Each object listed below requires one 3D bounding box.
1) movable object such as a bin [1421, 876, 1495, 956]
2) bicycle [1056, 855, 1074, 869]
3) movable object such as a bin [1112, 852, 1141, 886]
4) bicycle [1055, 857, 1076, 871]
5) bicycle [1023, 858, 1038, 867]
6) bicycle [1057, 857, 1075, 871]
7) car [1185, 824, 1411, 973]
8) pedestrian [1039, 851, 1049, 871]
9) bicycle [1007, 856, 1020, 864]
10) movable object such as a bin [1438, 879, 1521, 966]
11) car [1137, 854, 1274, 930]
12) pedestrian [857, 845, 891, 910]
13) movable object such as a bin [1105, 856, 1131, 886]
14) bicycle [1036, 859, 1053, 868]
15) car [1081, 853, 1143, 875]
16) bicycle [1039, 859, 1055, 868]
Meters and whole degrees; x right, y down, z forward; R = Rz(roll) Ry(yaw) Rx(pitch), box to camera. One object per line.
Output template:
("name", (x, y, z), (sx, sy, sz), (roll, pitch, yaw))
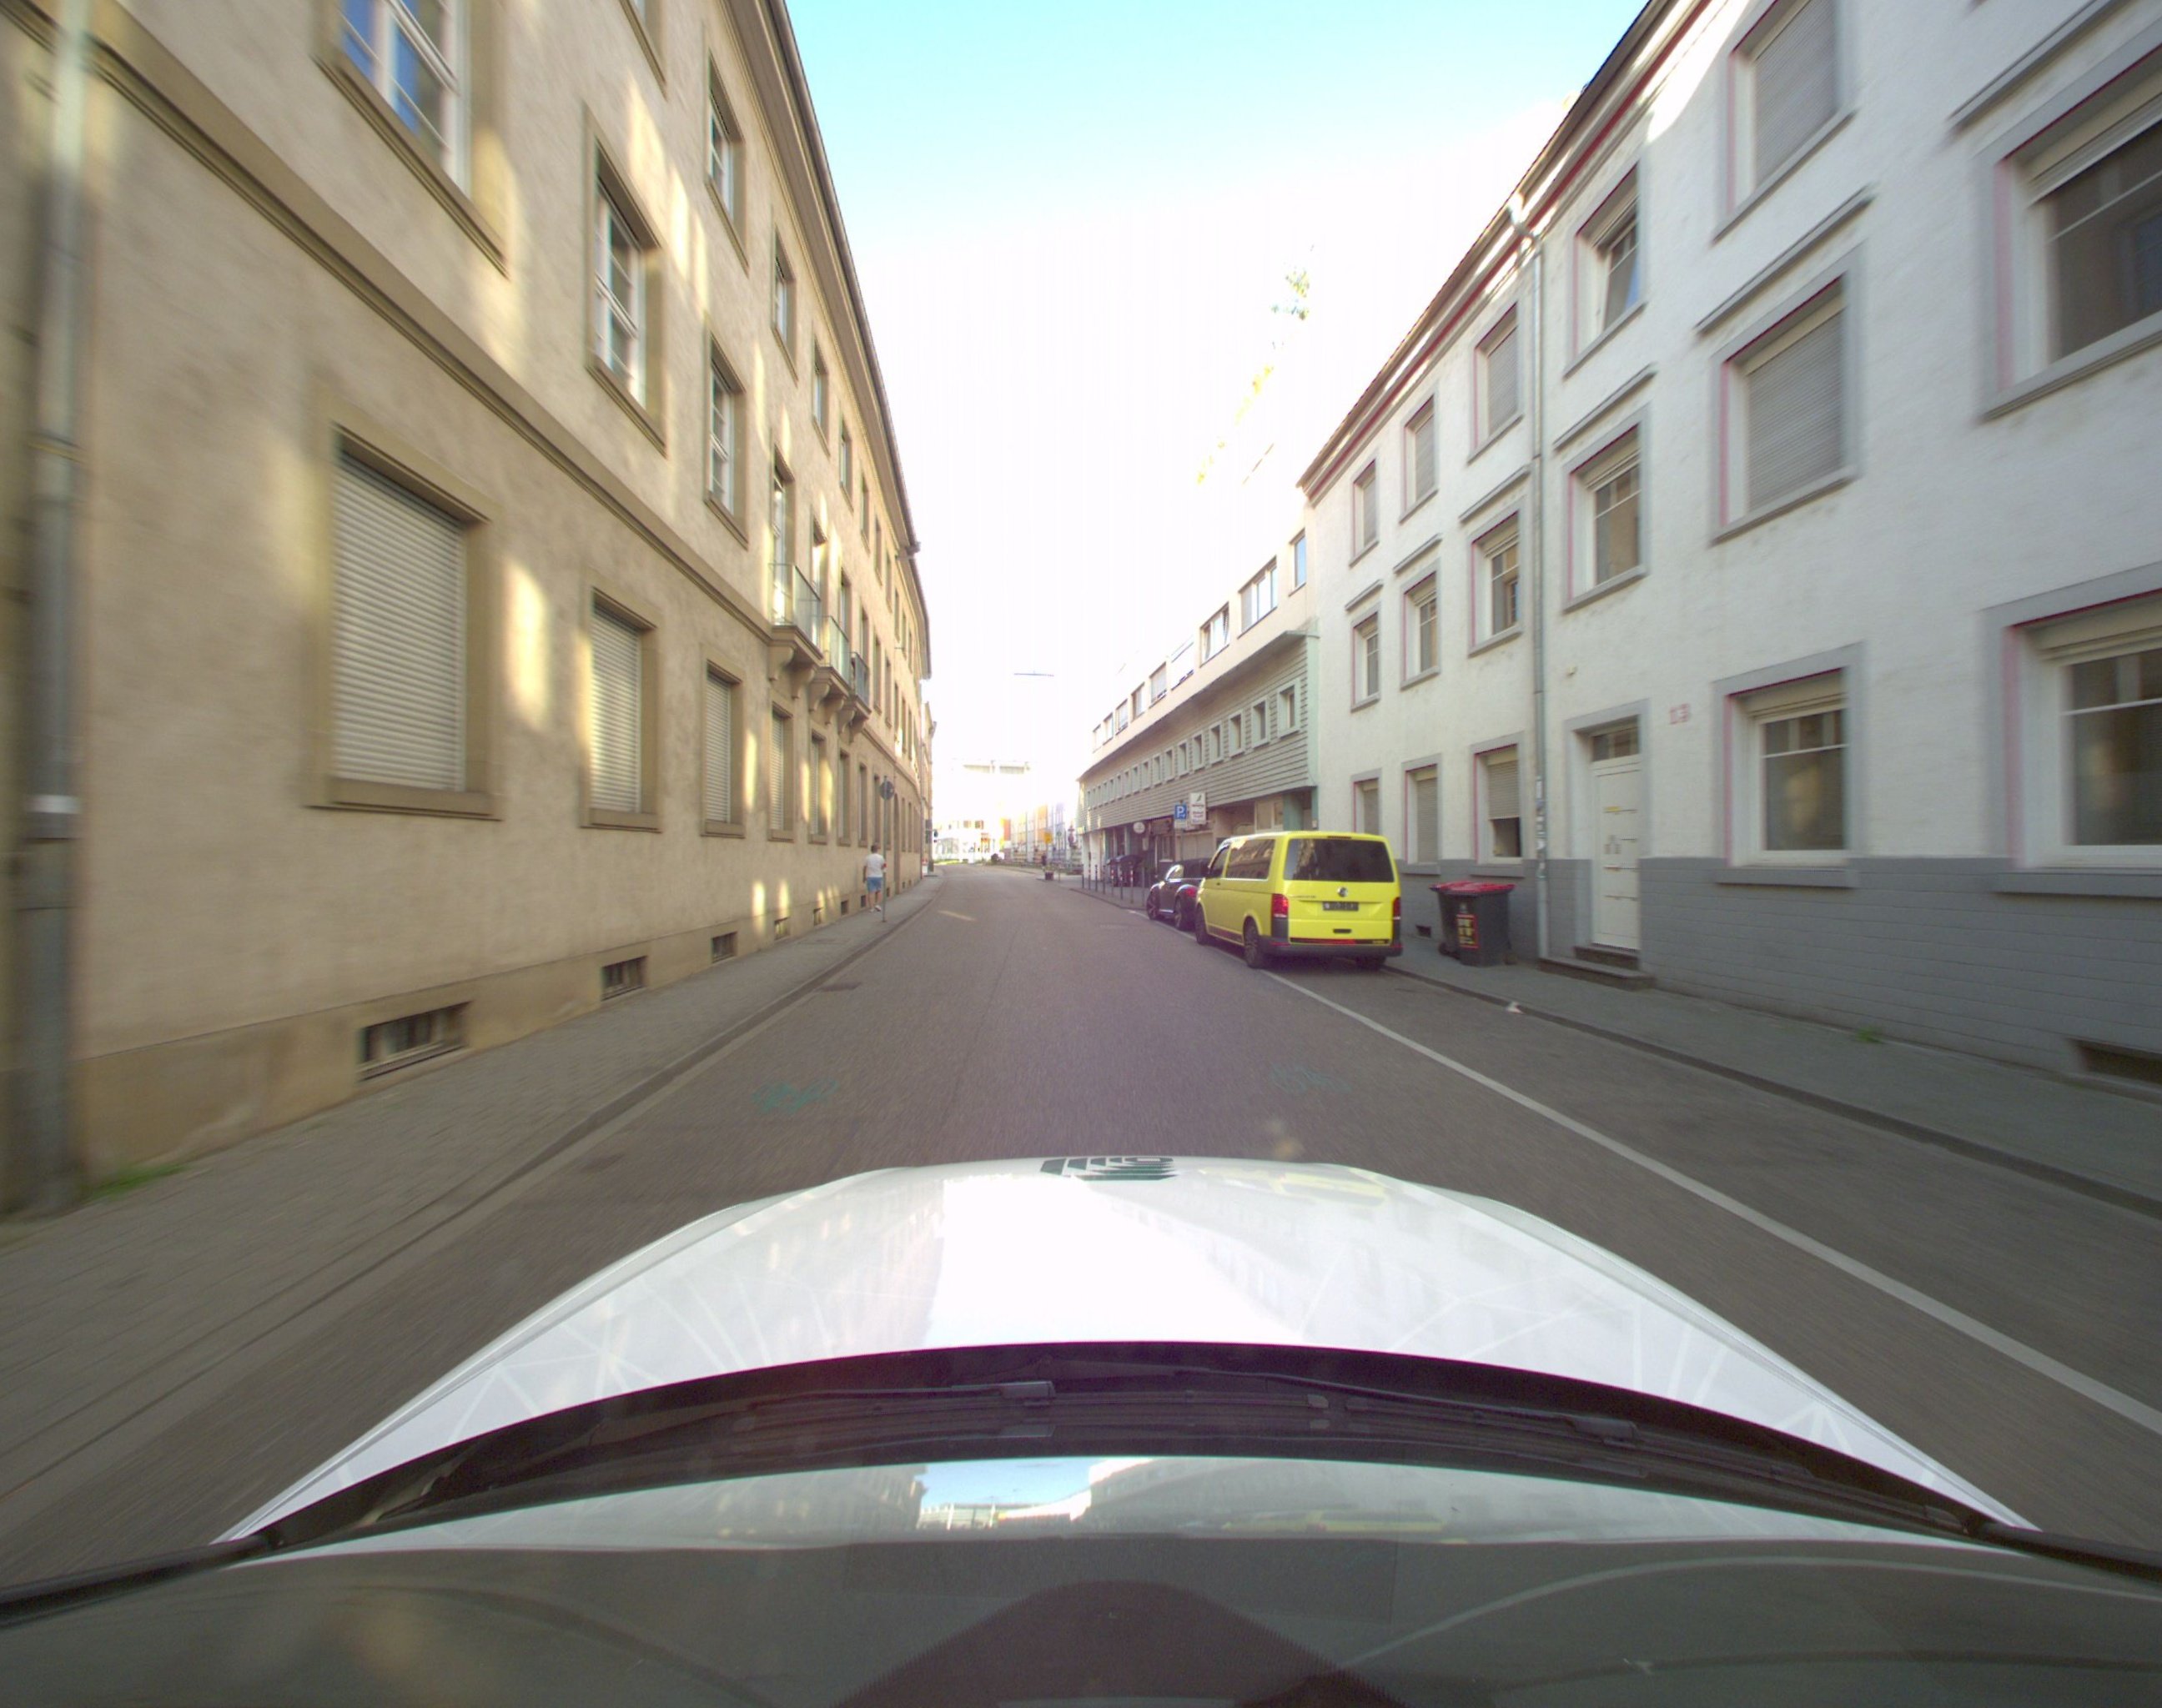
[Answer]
("movable object such as a bin", (5.396, 0.871, 11.677), (0.605, 1.051, 0.707), (-5, 0, -7))
("bicycle", (-1.464, 0.723, 74.275), (1.607, 1.141, 0.236), (-4, 1, -19))
("movable object such as a bin", (2.061, 0.697, 36.945), (0.980, 1.480, 1.547), (-2, -2, -8))
("bicycle", (-1.359, 0.899, 72.585), (1.749, 1.141, 0.550), (-4, 1, -11))
("bicycle", (-6.341, 1.036, 102.808), (1.812, 1.137, 0.549), (-1, -1, -12))
("bicycle", (-1.370, 0.890, 74.016), (1.646, 1.141, 0.281), (-4, 1, -19))
("car", (3.087, 0.567, 12.772), (1.880, 1.882, 4.836), (0, 0, -5))
("pedestrian", (-3.398, 0.654, 74.438), (0.697, 1.760, 1.184), (-3, 0, -10))
("bicycle", (-9.647, 0.842, 116.493), (1.757, 1.004, 0.610), (-2, -1, -16))
("movable object such as a bin", (5.303, 0.889, 10.866), (0.626, 1.051, 0.706), (-5, 0, -10))
("car", (2.621, 0.742, 18.233), (1.882, 1.489, 4.356), (0, 0, -8))
("pedestrian", (-5.404, 0.606, 21.273), (0.692, 1.670, 0.873), (2, -1, -6))
("movable object such as a bin", (1.738, 0.811, 38.474), (0.980, 1.385, 1.317), (-2, -2, -8))
("bicycle", (-3.836, 1.021, 86.246), (1.749, 0.946, 0.550), (-1, -1, -11))
("car", (2.139, 0.698, 57.120), (4.079, 1.482, 1.859), (-1, -1, -11))
("bicycle", (-3.686, 0.995, 88.608), (1.749, 0.946, 0.334), (-1, -1, -11))
